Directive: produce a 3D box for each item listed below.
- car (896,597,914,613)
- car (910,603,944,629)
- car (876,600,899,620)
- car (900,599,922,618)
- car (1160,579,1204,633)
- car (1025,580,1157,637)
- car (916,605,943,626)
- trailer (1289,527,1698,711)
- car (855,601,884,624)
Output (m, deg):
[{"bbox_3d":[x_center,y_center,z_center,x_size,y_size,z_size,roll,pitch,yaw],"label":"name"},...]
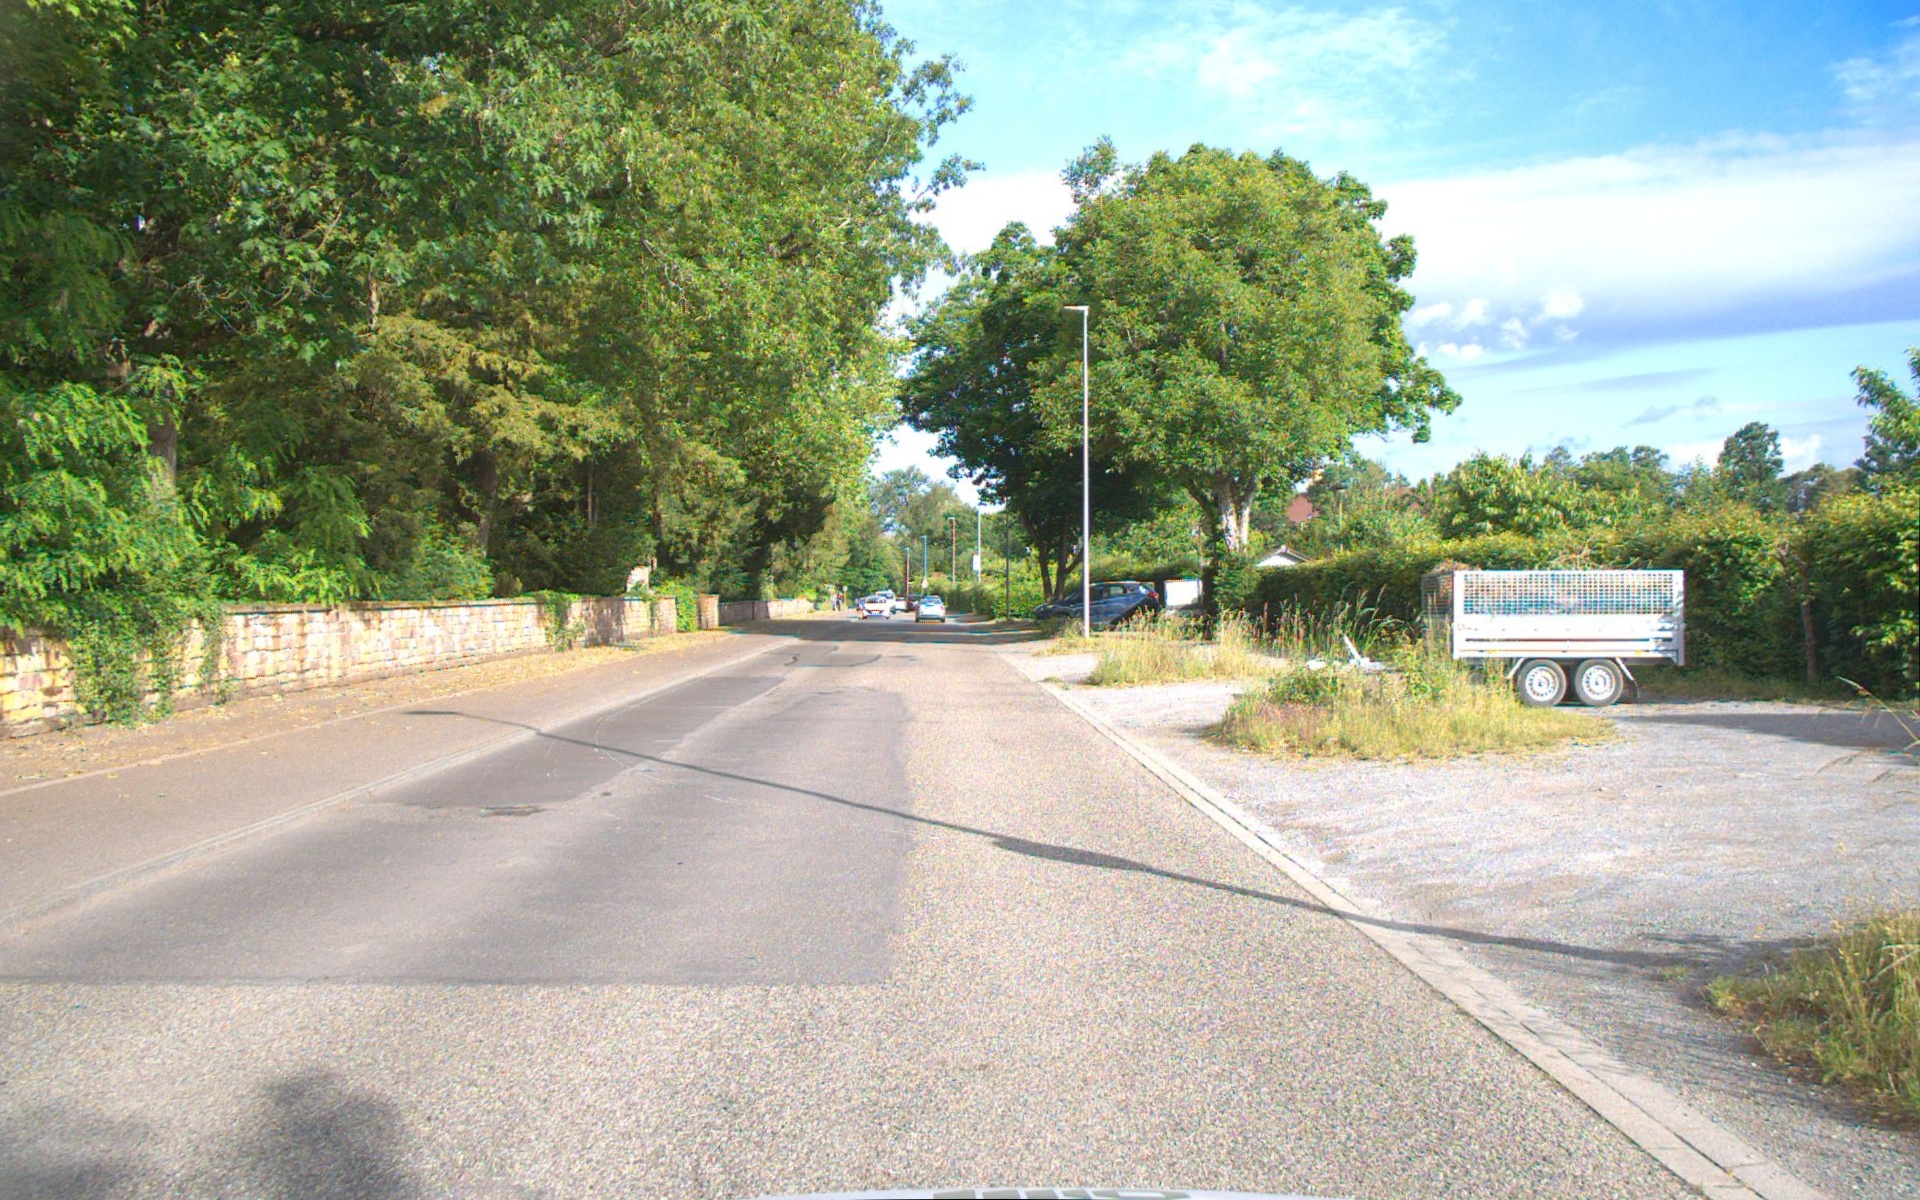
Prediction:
[{"bbox_3d":[-5.862,0.491,174.647,1.849,1.641,4.052,-1,0,-2],"label":"car"},{"bbox_3d":[-1.882,0.866,93.619,1.849,1.396,4.052,-1,0,-2],"label":"car"},{"bbox_3d":[-5.973,0.809,136.115,1.849,1.592,4.052,-1,0,-2],"label":"car"},{"bbox_3d":[-4.382,0.779,147.718,1.849,1.641,4.052,-1,0,-2],"label":"car"},{"bbox_3d":[7.479,0.159,55.511,1.322,1.661,4.115,-3,0,9],"label":"car"},{"bbox_3d":[4.511,0.299,57.268,4.314,1.675,2.000,-4,0,-1],"label":"car"},{"bbox_3d":[-2.252,1.117,121.121,1.849,1.490,4.052,-1,0,-2],"label":"car"},{"bbox_3d":[6.011,0.209,19.023,4.065,1.867,1.917,-2,0,2],"label":"trailer"},{"bbox_3d":[-5.867,0.789,106.811,1.849,1.396,4.051,-1,0,-4],"label":"car"}]
